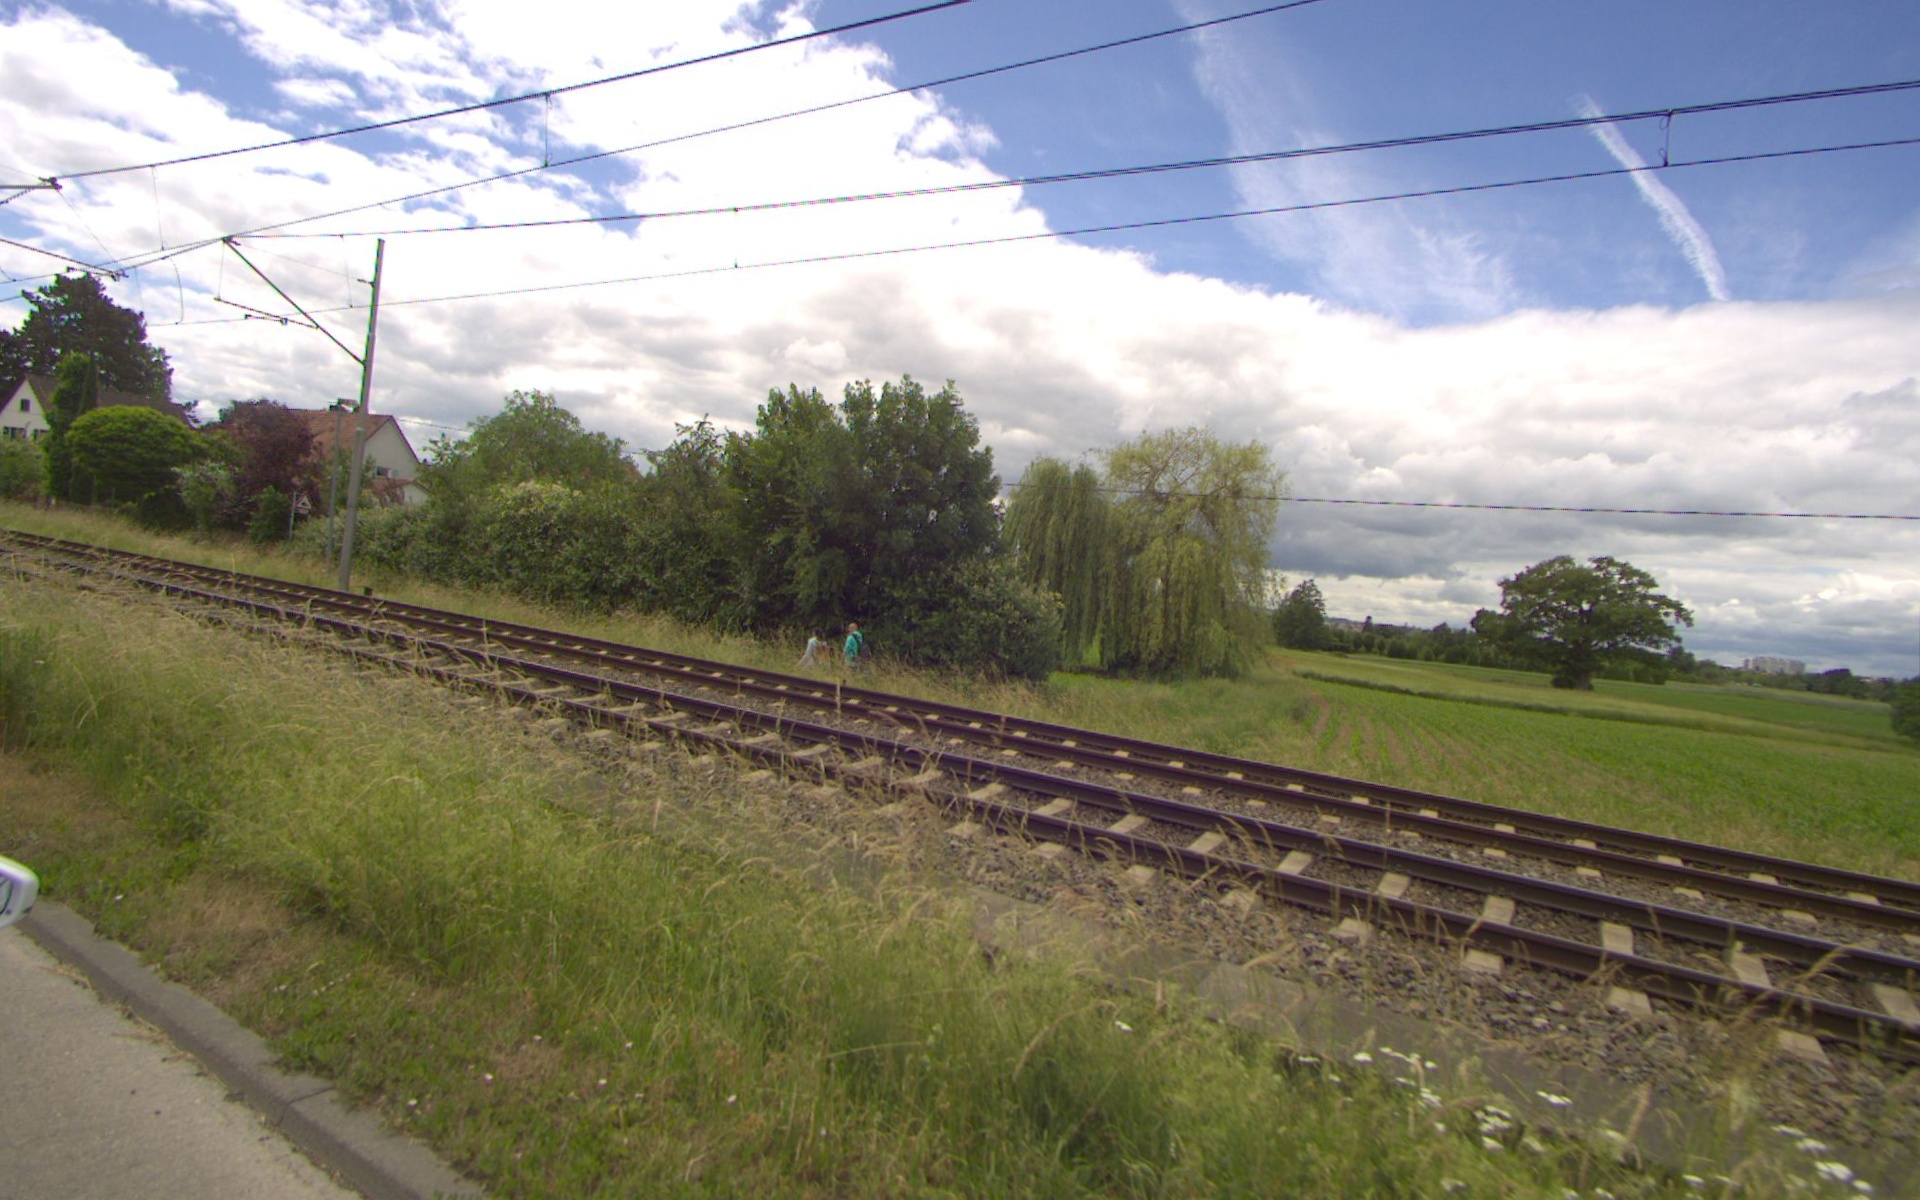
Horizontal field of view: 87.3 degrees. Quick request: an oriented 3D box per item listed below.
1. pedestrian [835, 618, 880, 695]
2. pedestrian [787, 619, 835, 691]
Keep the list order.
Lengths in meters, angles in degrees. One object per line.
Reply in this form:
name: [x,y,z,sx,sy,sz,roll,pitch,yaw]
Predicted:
pedestrian: [-2.306,1.271,22.669,0.574,1.641,0.617,7,0,32]
pedestrian: [-3.223,1.193,21.716,0.596,1.448,0.658,7,0,-44]
